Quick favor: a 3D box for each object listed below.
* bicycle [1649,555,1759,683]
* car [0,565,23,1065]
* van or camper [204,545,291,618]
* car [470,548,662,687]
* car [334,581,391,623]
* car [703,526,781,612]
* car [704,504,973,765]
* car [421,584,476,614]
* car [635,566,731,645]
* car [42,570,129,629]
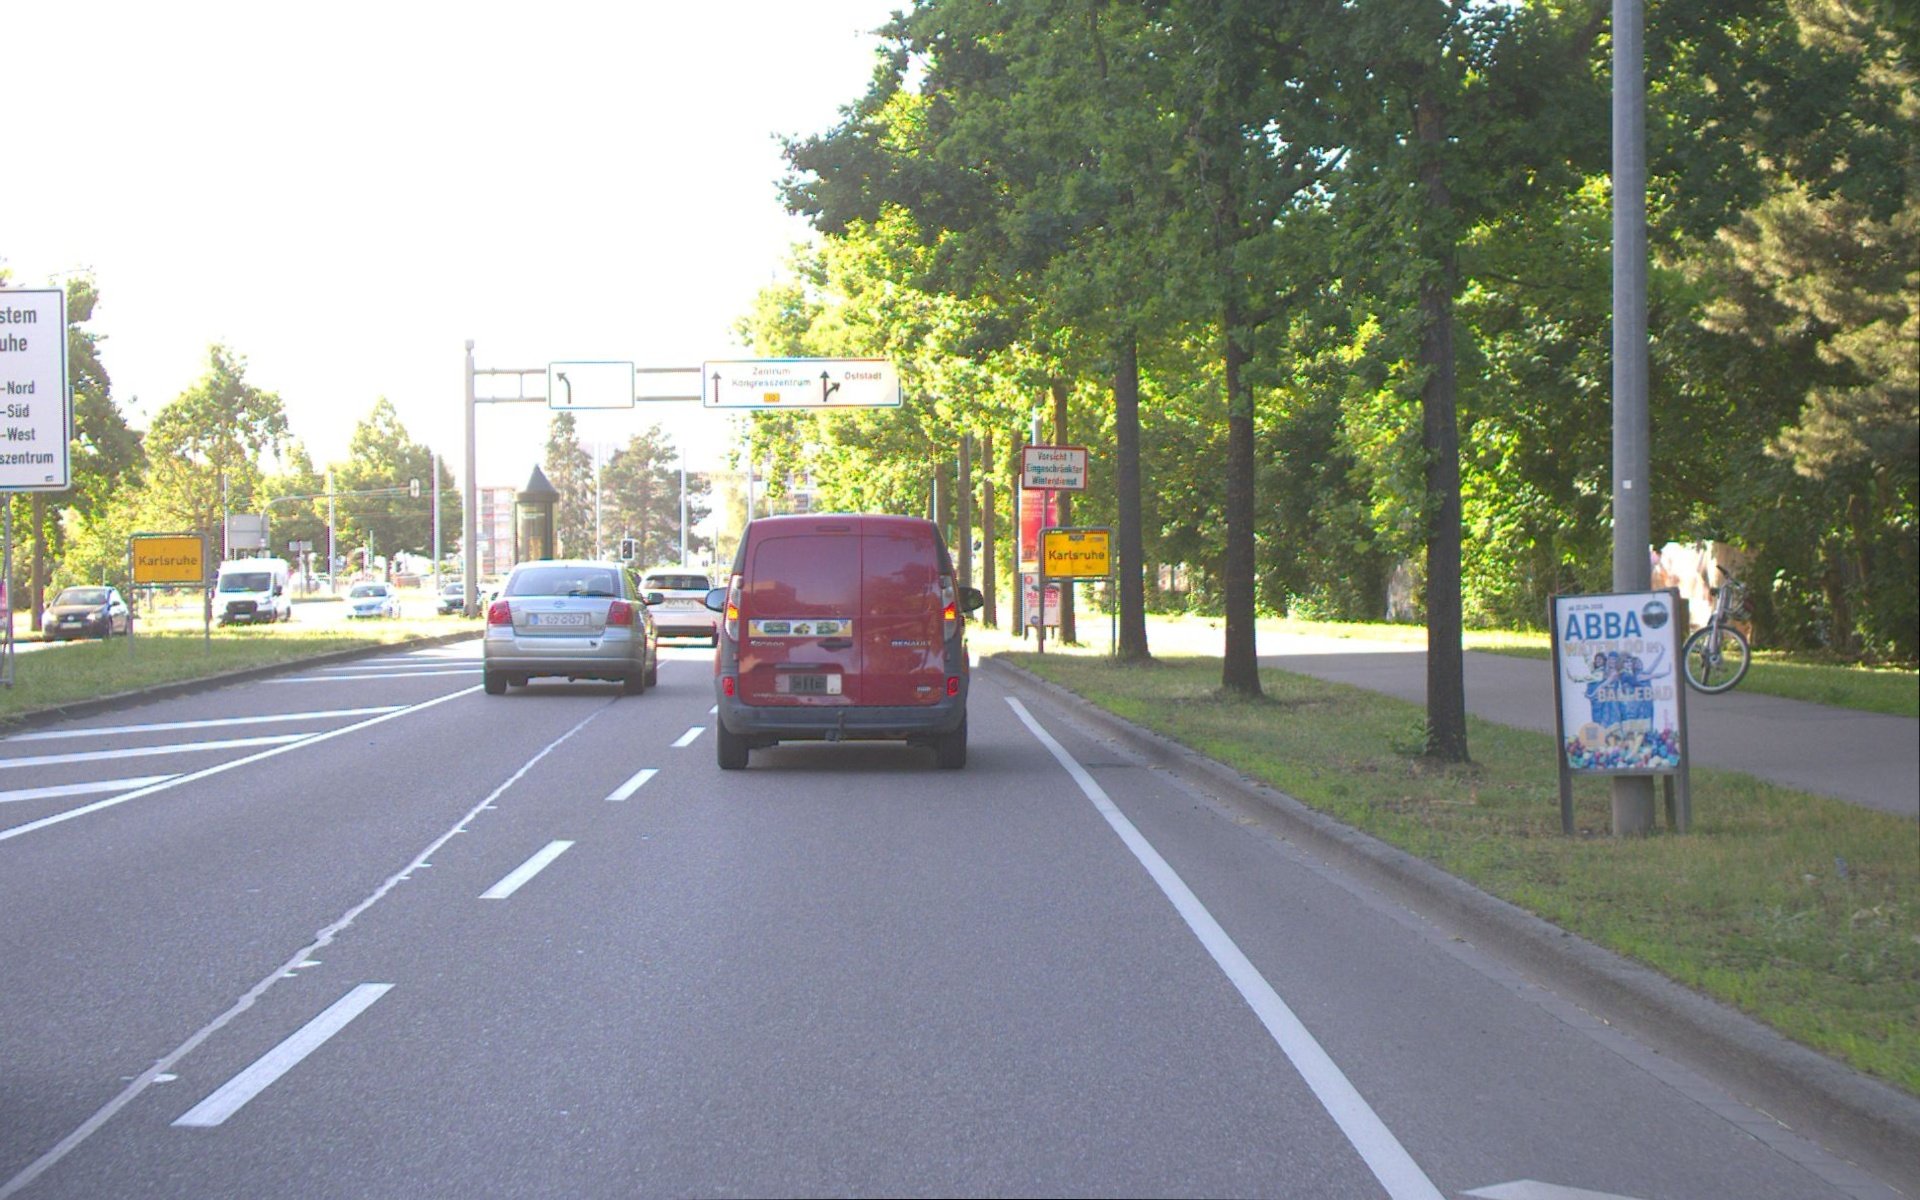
[{"bbox_3d":[6.781,0.161,31.407,0.774,1.127,1.708,0,1,5],"label":"bicycle"},{"bbox_3d":[-3.549,0.633,7.857,1.778,1.404,4.075,0,1,-1],"label":"car"},{"bbox_3d":[-24.329,-0.652,117.574,1.993,2.360,5.994,-2,1,-3],"label":"van or camper"},{"bbox_3d":[-4.360,0.160,38.538,1.841,1.451,4.163,1,1,-3],"label":"car"},{"bbox_3d":[-22.209,0.065,127.911,1.688,1.471,4.050,-1,1,-5],"label":"car"},{"bbox_3d":[-4.781,-0.691,75.545,1.661,1.850,3.559,-1,1,-3],"label":"car"},{"bbox_3d":[-0.936,0.209,25.316,1.806,1.753,4.006,1,1,-3],"label":"car"},{"bbox_3d":[-19.979,-0.041,134.342,1.827,1.107,4.175,-1,1,-5],"label":"car"},{"bbox_3d":[-5.090,0.076,63.511,1.661,1.393,3.559,-1,1,-3],"label":"car"},{"bbox_3d":[-23.380,-0.029,92.041,1.550,1.503,4.027,-1,1,-4],"label":"car"}]
